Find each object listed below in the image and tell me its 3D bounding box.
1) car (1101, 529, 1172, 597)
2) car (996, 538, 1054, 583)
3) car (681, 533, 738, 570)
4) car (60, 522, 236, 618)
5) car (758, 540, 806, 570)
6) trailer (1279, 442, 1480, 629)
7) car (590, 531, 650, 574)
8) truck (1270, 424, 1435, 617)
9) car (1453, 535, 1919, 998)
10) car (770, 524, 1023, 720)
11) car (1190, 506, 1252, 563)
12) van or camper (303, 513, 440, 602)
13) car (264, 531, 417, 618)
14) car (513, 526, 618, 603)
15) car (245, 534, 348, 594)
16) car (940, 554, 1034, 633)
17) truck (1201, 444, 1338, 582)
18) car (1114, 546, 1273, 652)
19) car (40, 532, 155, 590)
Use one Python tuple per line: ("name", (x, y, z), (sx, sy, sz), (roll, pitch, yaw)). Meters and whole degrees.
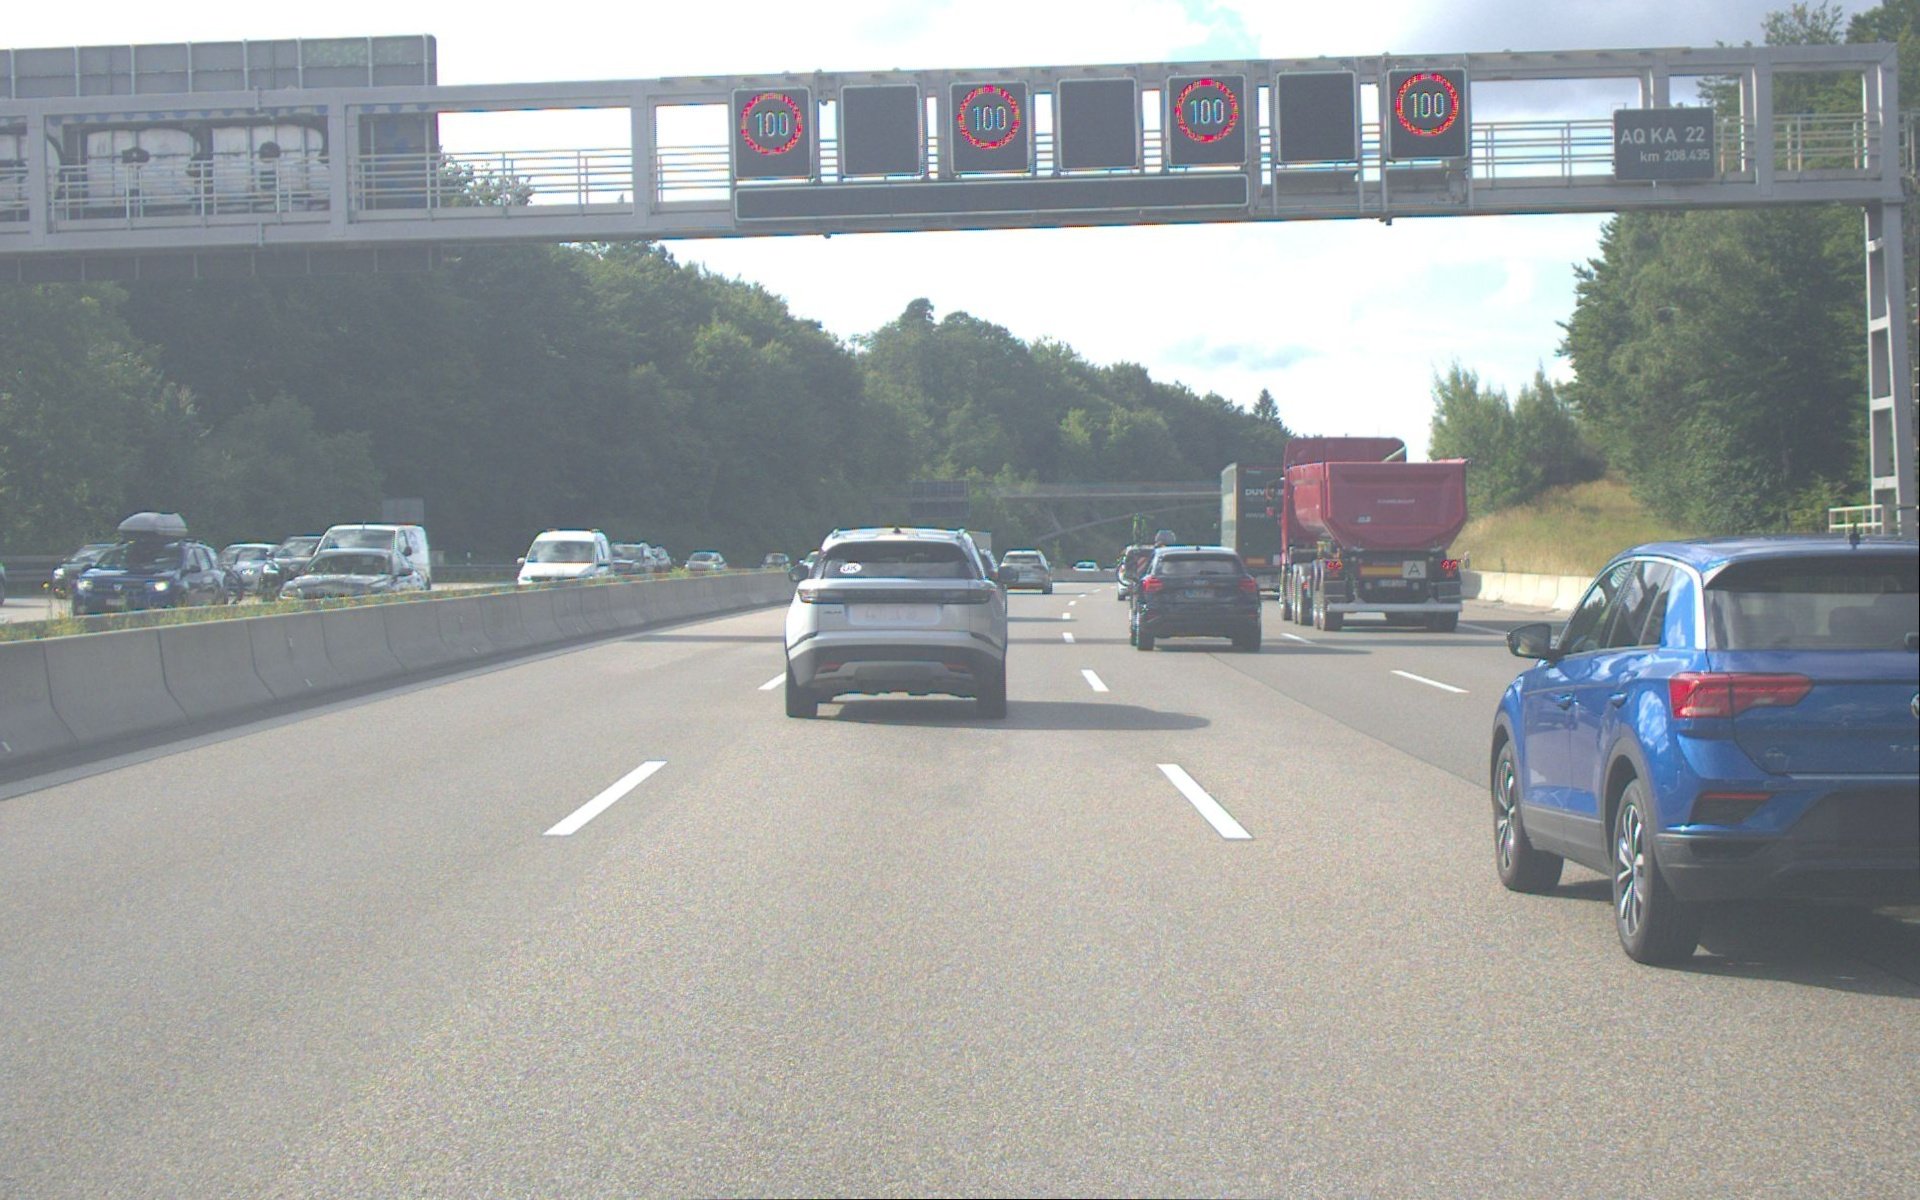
("car", (4.990, -1.066, 97.590), (1.894, 1.850, 4.100), (1, 1, 2))
("car", (2.185, -1.316, 115.503), (1.822, 1.452, 4.000), (0, 1, 3))
("car", (-11.780, -2.301, 161.922), (1.929, 1.710, 4.422), (1, 1, 5))
("car", (-13.441, -0.519, 57.164), (1.698, 1.523, 4.685), (1, 1, 1))
("car", (-10.391, -2.624, 200.964), (1.929, 1.710, 4.421), (1, 1, 9))
("trailer", (7.718, -1.210, 64.450), (2.710, 3.220, 9.733), (0, 1, 1))
("car", (-13.331, -1.873, 135.080), (1.666, 1.634, 4.479), (1, 1, 3))
("truck", (7.822, -1.588, 69.124), (2.710, 3.706, 5.817), (0, 1, 1))
("car", (3.203, 0.549, 13.580), (1.773, 1.525, 4.458), (0, 0, -1))
("car", (-0.483, 0.137, 31.388), (2.006, 1.611, 5.301), (1, 1, 2))
("car", (8.774, -2.196, 115.956), (1.894, 1.850, 4.100), (1, 1, 2))
("van or camper", (-12.661, -0.925, 74.253), (1.862, 1.844, 5.155), (0, 1, 2))
("car", (-10.269, -0.441, 57.264), (1.793, 1.370, 4.549), (1, 1, -1))
("car", (-8.784, -0.803, 76.823), (1.769, 1.643, 4.520), (1, 1, 1))
("car", (-16.102, -0.890, 83.591), (1.637, 1.411, 4.000), (1, 1, 1))
("car", (0.580, -0.153, 70.687), (1.822, 1.541, 4.000), (1, 1, 2))
("truck", (9.202, -2.571, 103.325), (3.118, 3.921, 10.411), (1, 1, 0))
("car", (3.378, -0.043, 50.402), (1.822, 1.452, 4.001), (1, 1, -3))
("car", (-22.102, -1.024, 88.261), (1.701, 1.435, 4.707), (0, 1, 1))
